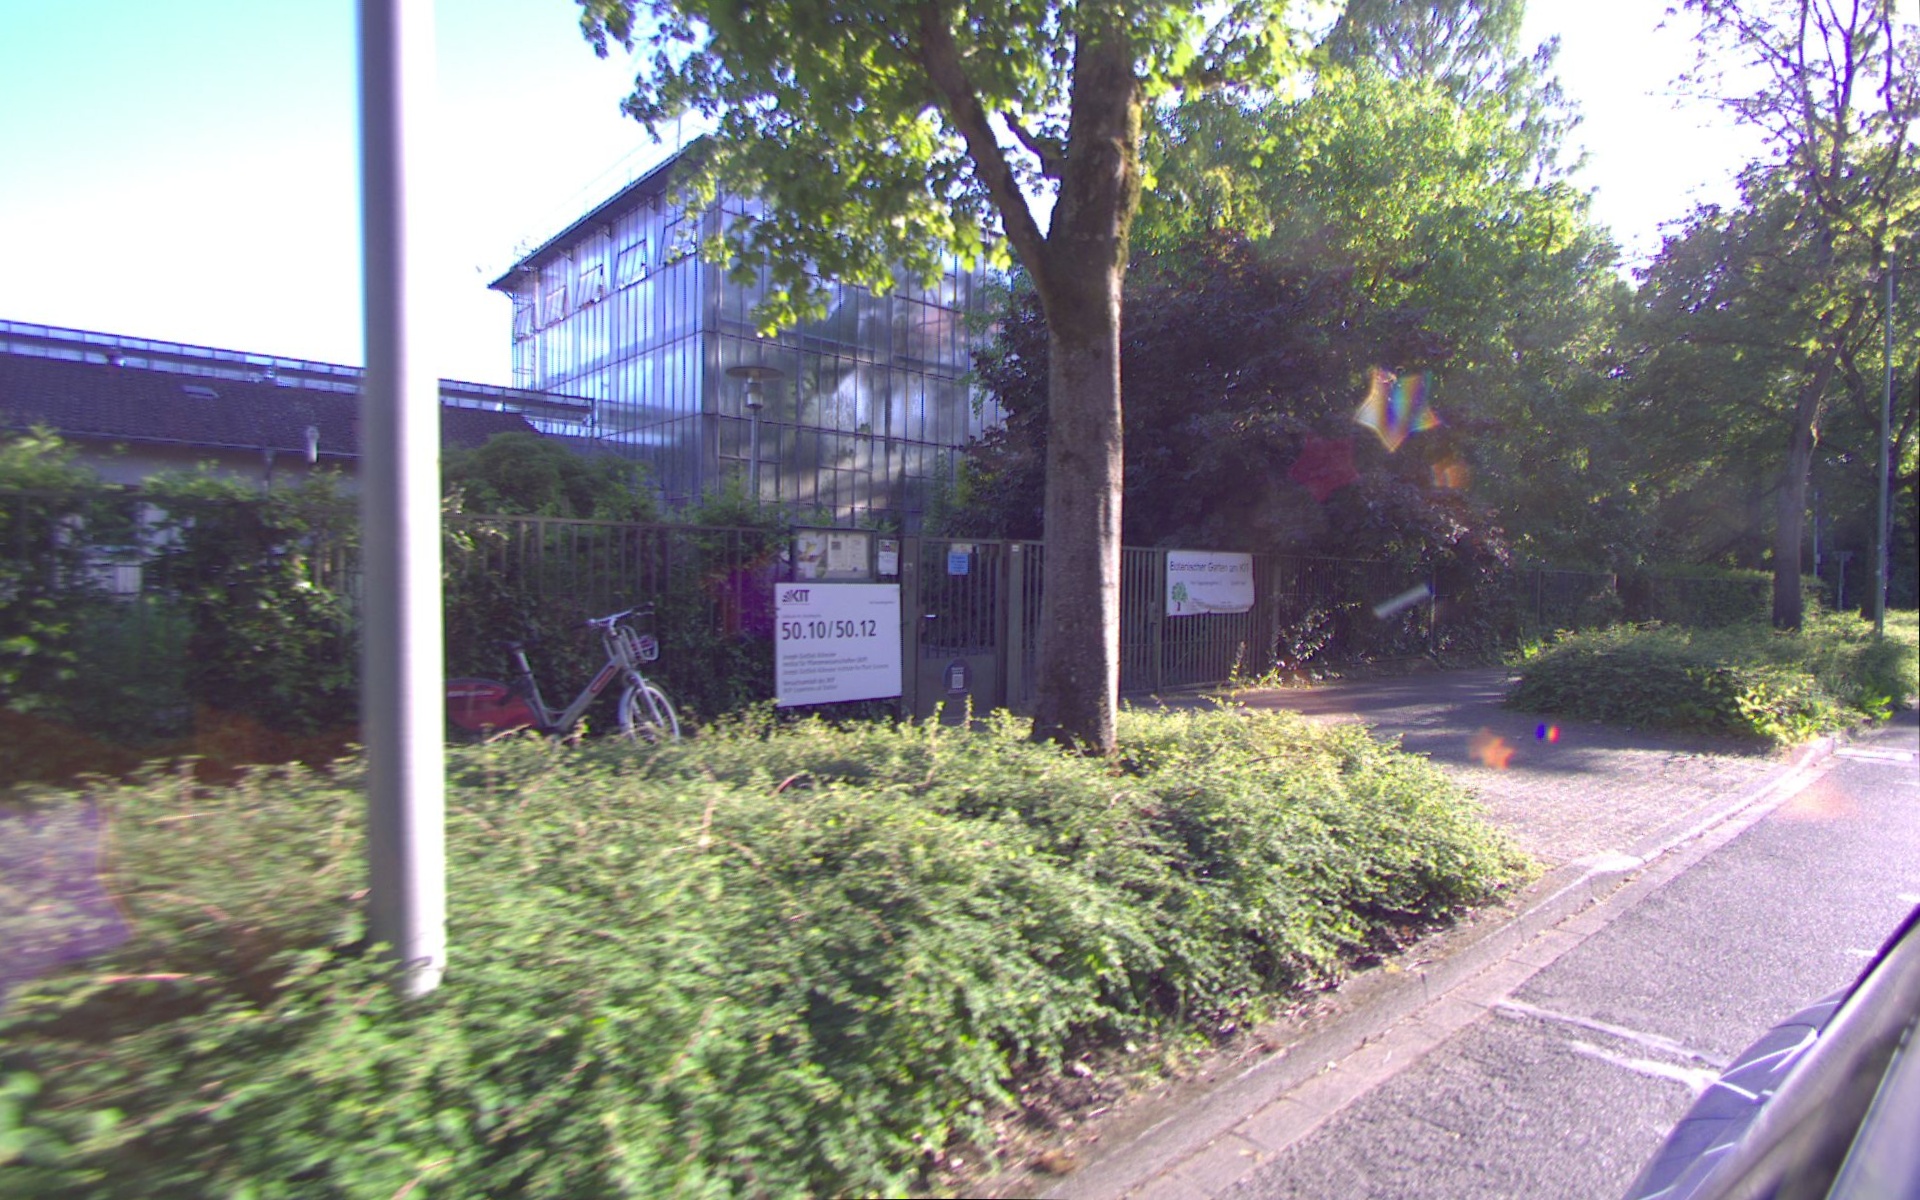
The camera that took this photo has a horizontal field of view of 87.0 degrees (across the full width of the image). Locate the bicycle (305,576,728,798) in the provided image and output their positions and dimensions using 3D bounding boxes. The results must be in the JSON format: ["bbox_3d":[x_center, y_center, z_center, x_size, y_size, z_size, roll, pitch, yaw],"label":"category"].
[{"bbox_3d":[-2.682,0.505,6.400,2.277,1.215,0.889,2,2,-17],"label":"bicycle"}]
